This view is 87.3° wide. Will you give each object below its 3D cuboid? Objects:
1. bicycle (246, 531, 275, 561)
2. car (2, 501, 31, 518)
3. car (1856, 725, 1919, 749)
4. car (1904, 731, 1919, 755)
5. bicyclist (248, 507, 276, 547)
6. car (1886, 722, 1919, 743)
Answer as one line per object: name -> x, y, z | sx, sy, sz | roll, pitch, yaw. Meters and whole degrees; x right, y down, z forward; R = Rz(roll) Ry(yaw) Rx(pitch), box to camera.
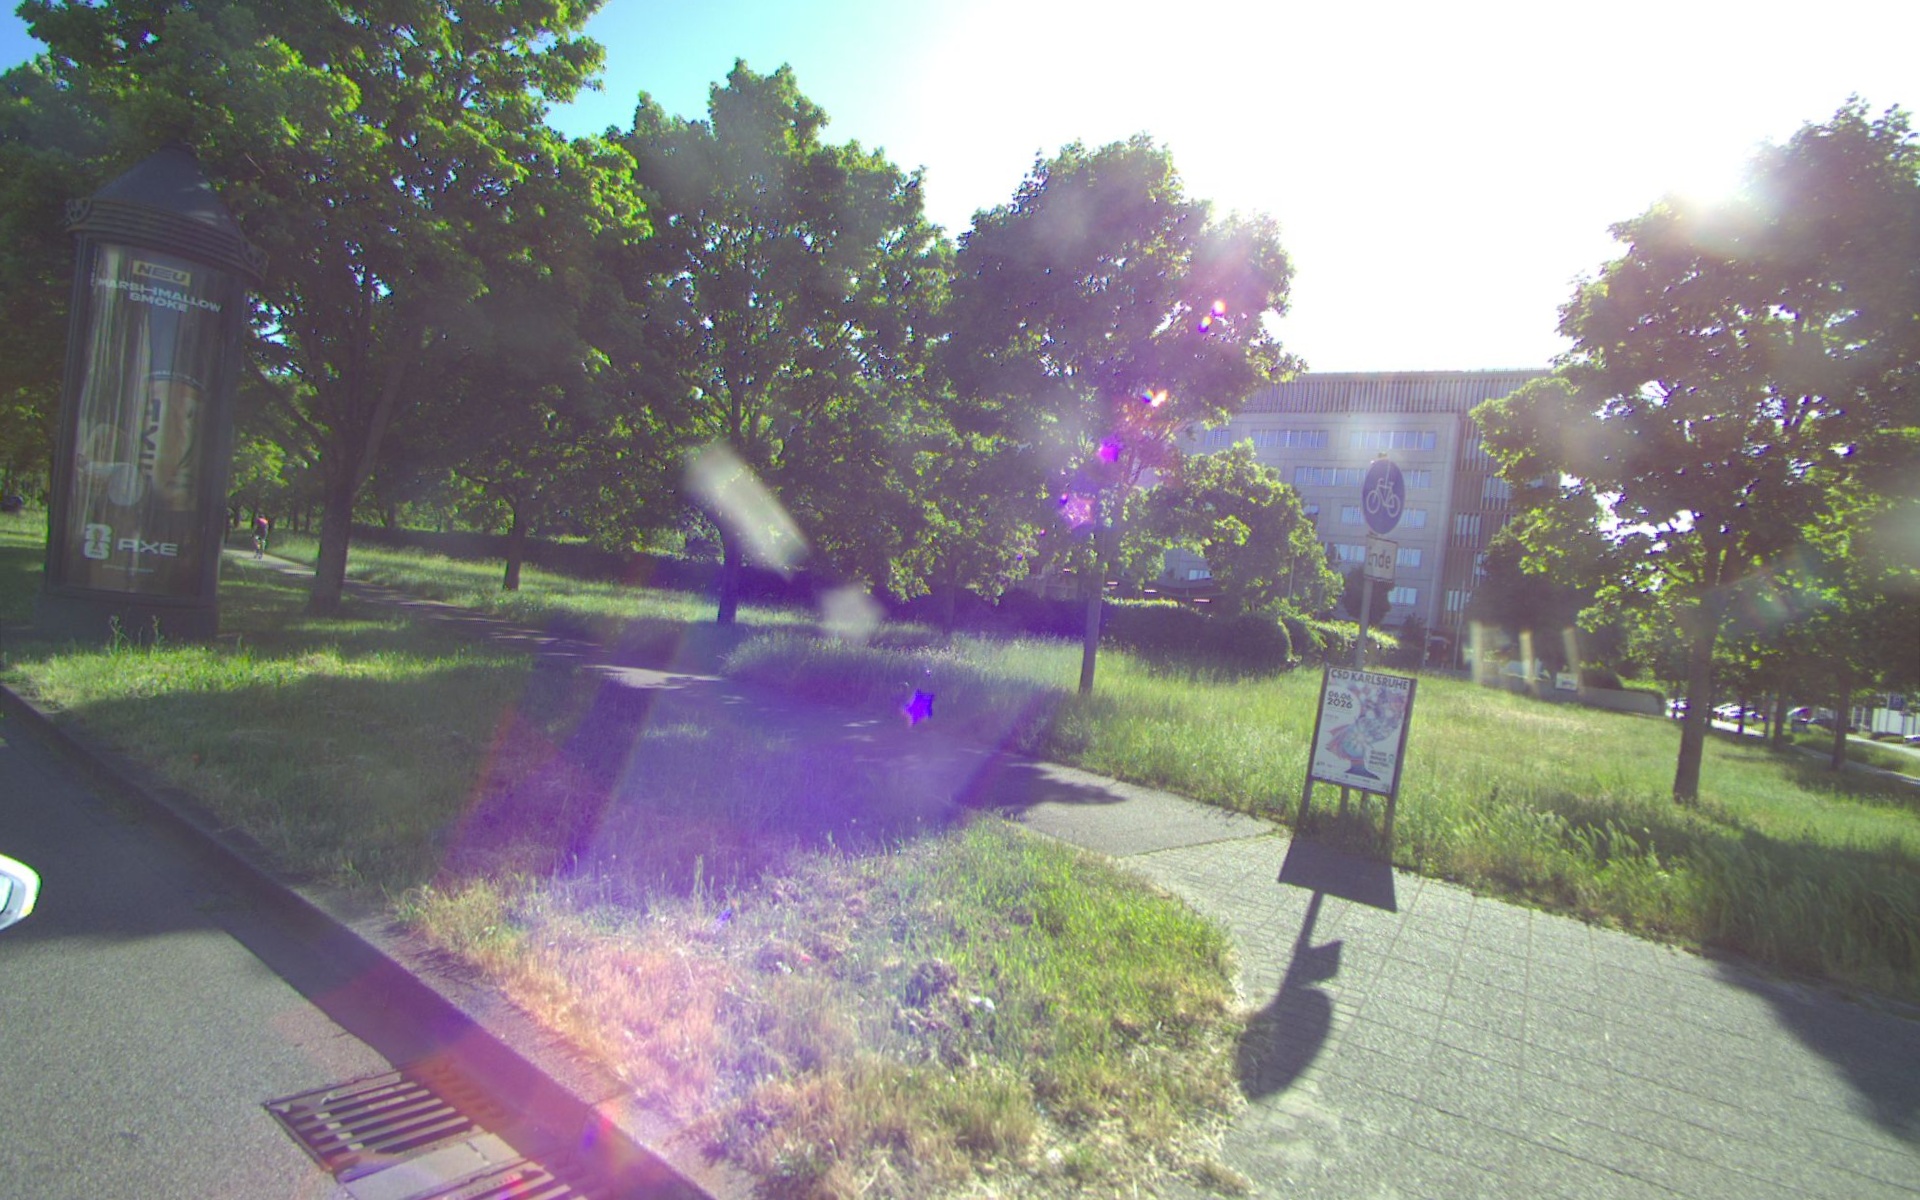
bicycle -> -27.995, -2.164, 40.249 | 0.790, 1.060, 2.120 | 6, 0, -38
car -> -101.702, -9.739, 108.444 | 1.626, 1.515, 4.192 | 8, -1, -37
car -> 86.748, 12.765, 93.900 | 4.215, 1.437, 1.916 | 7, 0, 30
car -> 78.735, 11.780, 80.452 | 4.216, 1.777, 1.916 | 7, 0, 31
bicyclist -> -27.954, -2.929, 40.298 | 0.785, 1.468, 0.836 | 6, 0, -38
car -> 82.474, 11.536, 86.111 | 4.215, 1.437, 1.916 | 7, 0, 30
